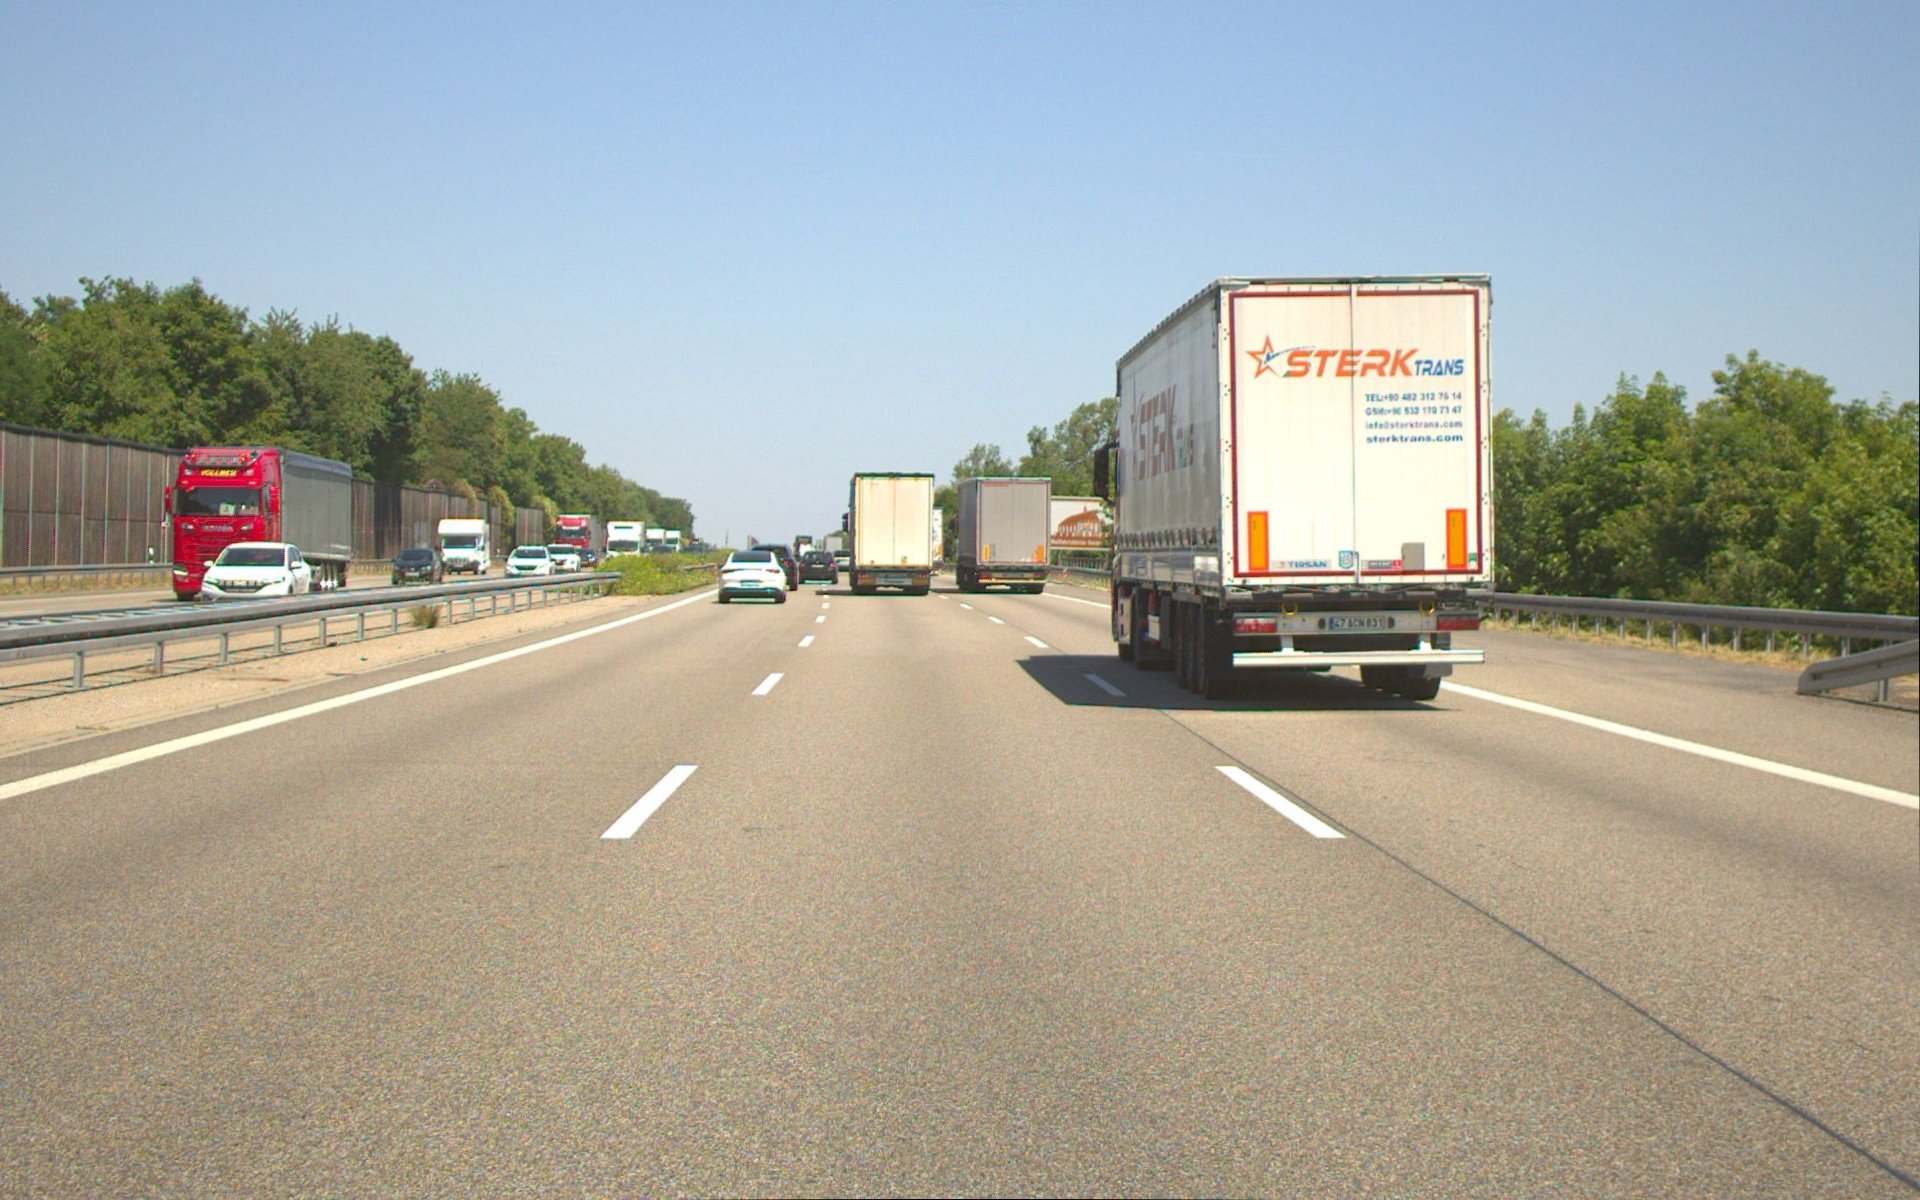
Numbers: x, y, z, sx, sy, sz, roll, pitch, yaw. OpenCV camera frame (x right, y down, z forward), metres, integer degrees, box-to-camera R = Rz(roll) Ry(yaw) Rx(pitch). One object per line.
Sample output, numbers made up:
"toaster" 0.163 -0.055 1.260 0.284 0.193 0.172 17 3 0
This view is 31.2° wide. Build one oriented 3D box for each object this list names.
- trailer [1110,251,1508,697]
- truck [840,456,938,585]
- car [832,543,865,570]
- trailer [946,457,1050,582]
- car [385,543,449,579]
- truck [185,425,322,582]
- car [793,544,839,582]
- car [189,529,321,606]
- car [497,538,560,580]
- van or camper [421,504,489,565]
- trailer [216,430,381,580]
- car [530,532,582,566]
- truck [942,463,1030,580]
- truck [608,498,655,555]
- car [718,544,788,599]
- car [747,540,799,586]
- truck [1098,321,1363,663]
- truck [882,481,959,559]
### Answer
"trailer" 3.530 -1.262 38.769 2.707 4.074 14.152 1 1 -1
"truck" -2.535 -2.653 117.838 2.706 4.072 13.476 1 1 -4
"car" -6.738 -2.614 207.694 1.855 1.611 4.001 0 1 -3
"trailer" 1.274 -2.846 124.275 2.703 4.201 13.214 1 1 -4
"car" -21.394 -1.555 135.652 1.919 1.370 4.582 1 1 -2
"truck" -19.069 -2.579 93.139 2.358 4.062 7.154 0 1 -1
"car" -6.271 -1.604 149.368 1.855 1.611 4.001 0 1 -4
"car" -14.401 -0.690 70.440 1.899 1.515 4.419 0 1 -1
"car" -16.475 -1.577 131.467 1.805 1.538 4.246 1 1 1
"van or camper" -26.461 -3.445 180.421 2.557 2.904 7.376 5 1 -3
"trailer" -19.211 -2.710 100.769 2.341 4.062 14.210 0 1 -1
"car" -18.598 -2.345 158.487 1.919 1.541 4.582 1 1 -1
"truck" 0.939 -2.935 129.688 2.691 4.201 7.839 1 1 -4
"truck" -19.558 -4.362 204.917 2.409 3.341 6.920 0 1 -2
"car" -5.774 -0.808 96.296 1.855 1.481 4.000 0 1 -2
"car" -6.840 -1.365 126.144 1.855 1.611 4.001 0 1 -3
"truck" 3.392 -1.346 44.857 2.707 4.074 6.965 1 1 -1
"truck" -2.435 -4.744 204.855 3.373 4.289 11.452 4 1 -6
